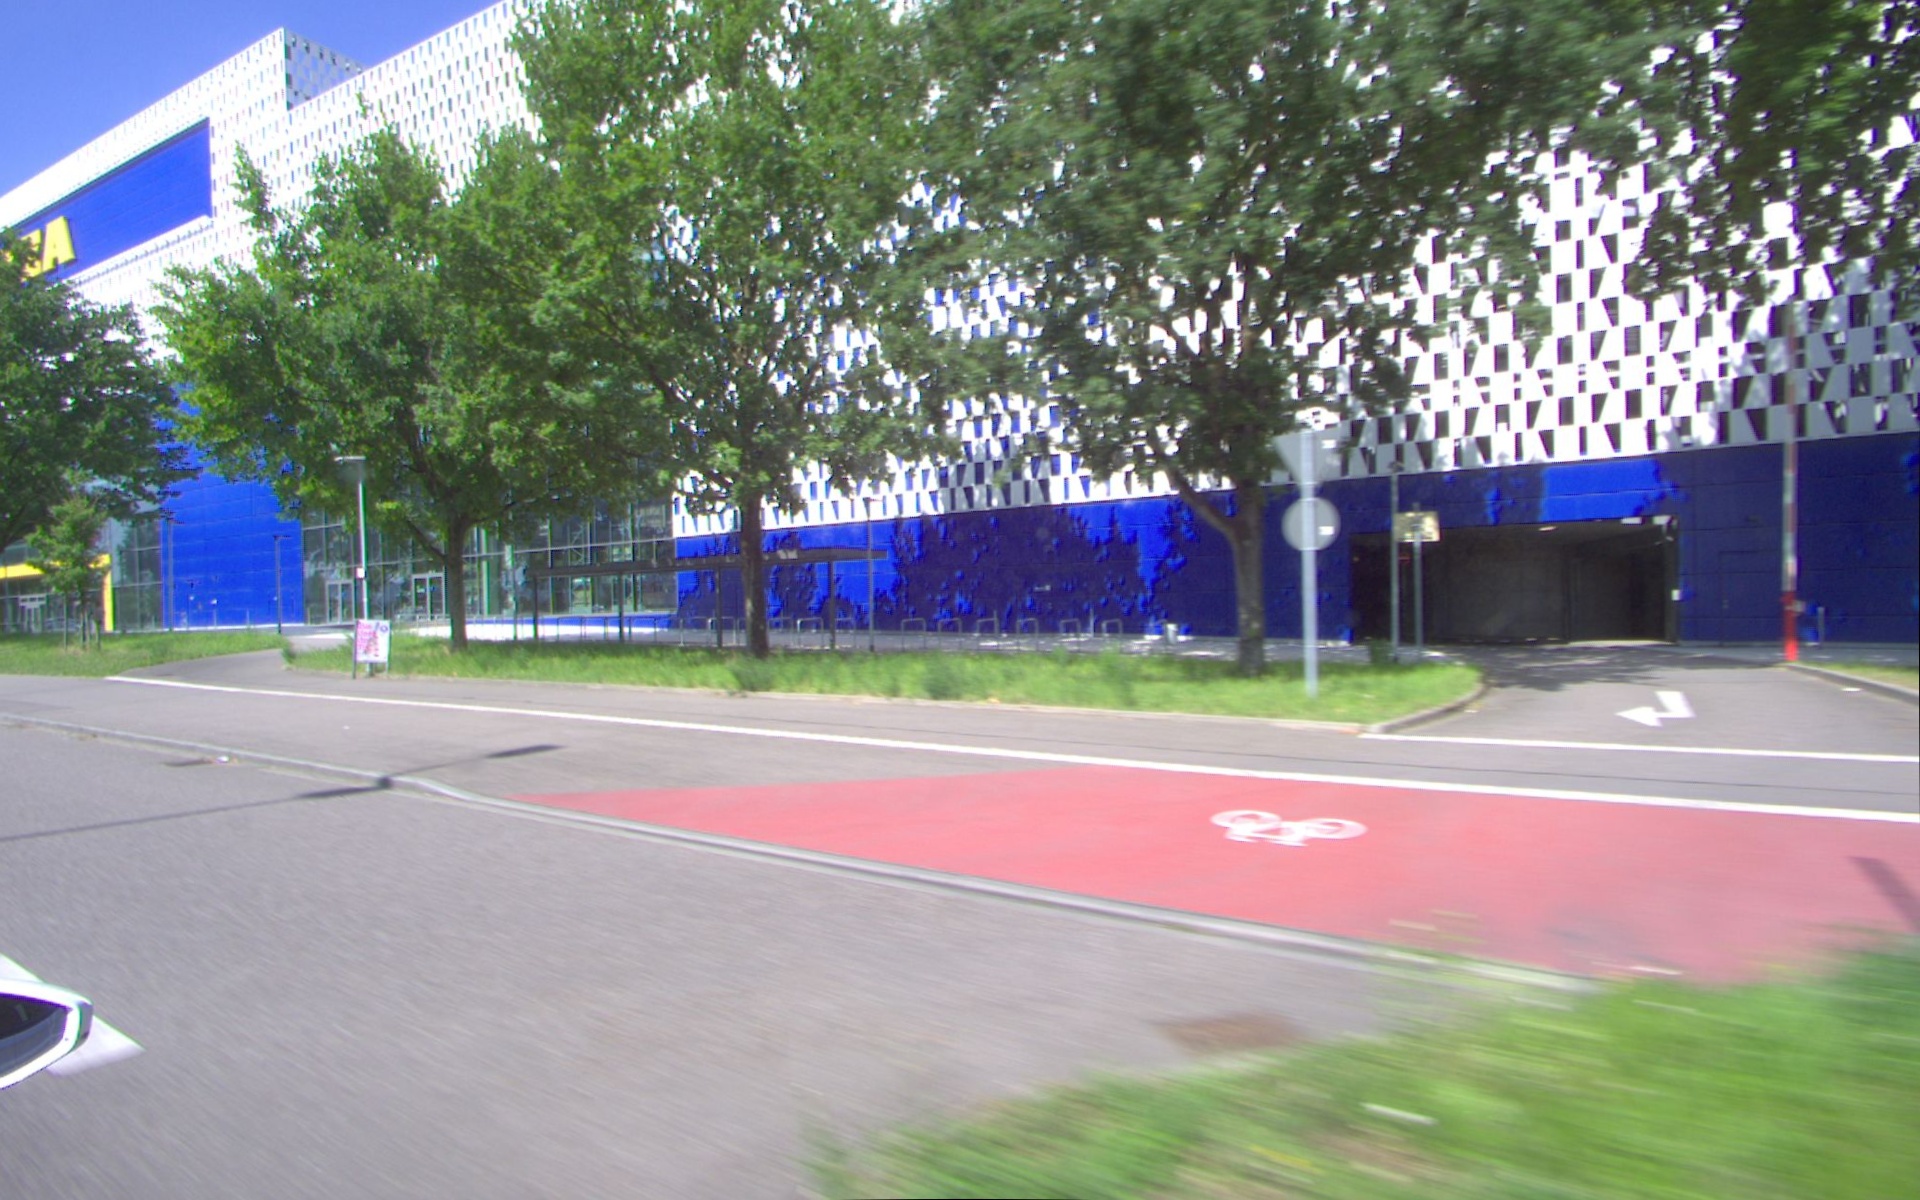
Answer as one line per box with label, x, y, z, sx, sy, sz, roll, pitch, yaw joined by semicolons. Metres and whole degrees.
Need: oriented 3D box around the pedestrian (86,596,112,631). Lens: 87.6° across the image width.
pedestrian;-41.888;0.651;48.742;0.759;1.634;0.687;0;2;28
